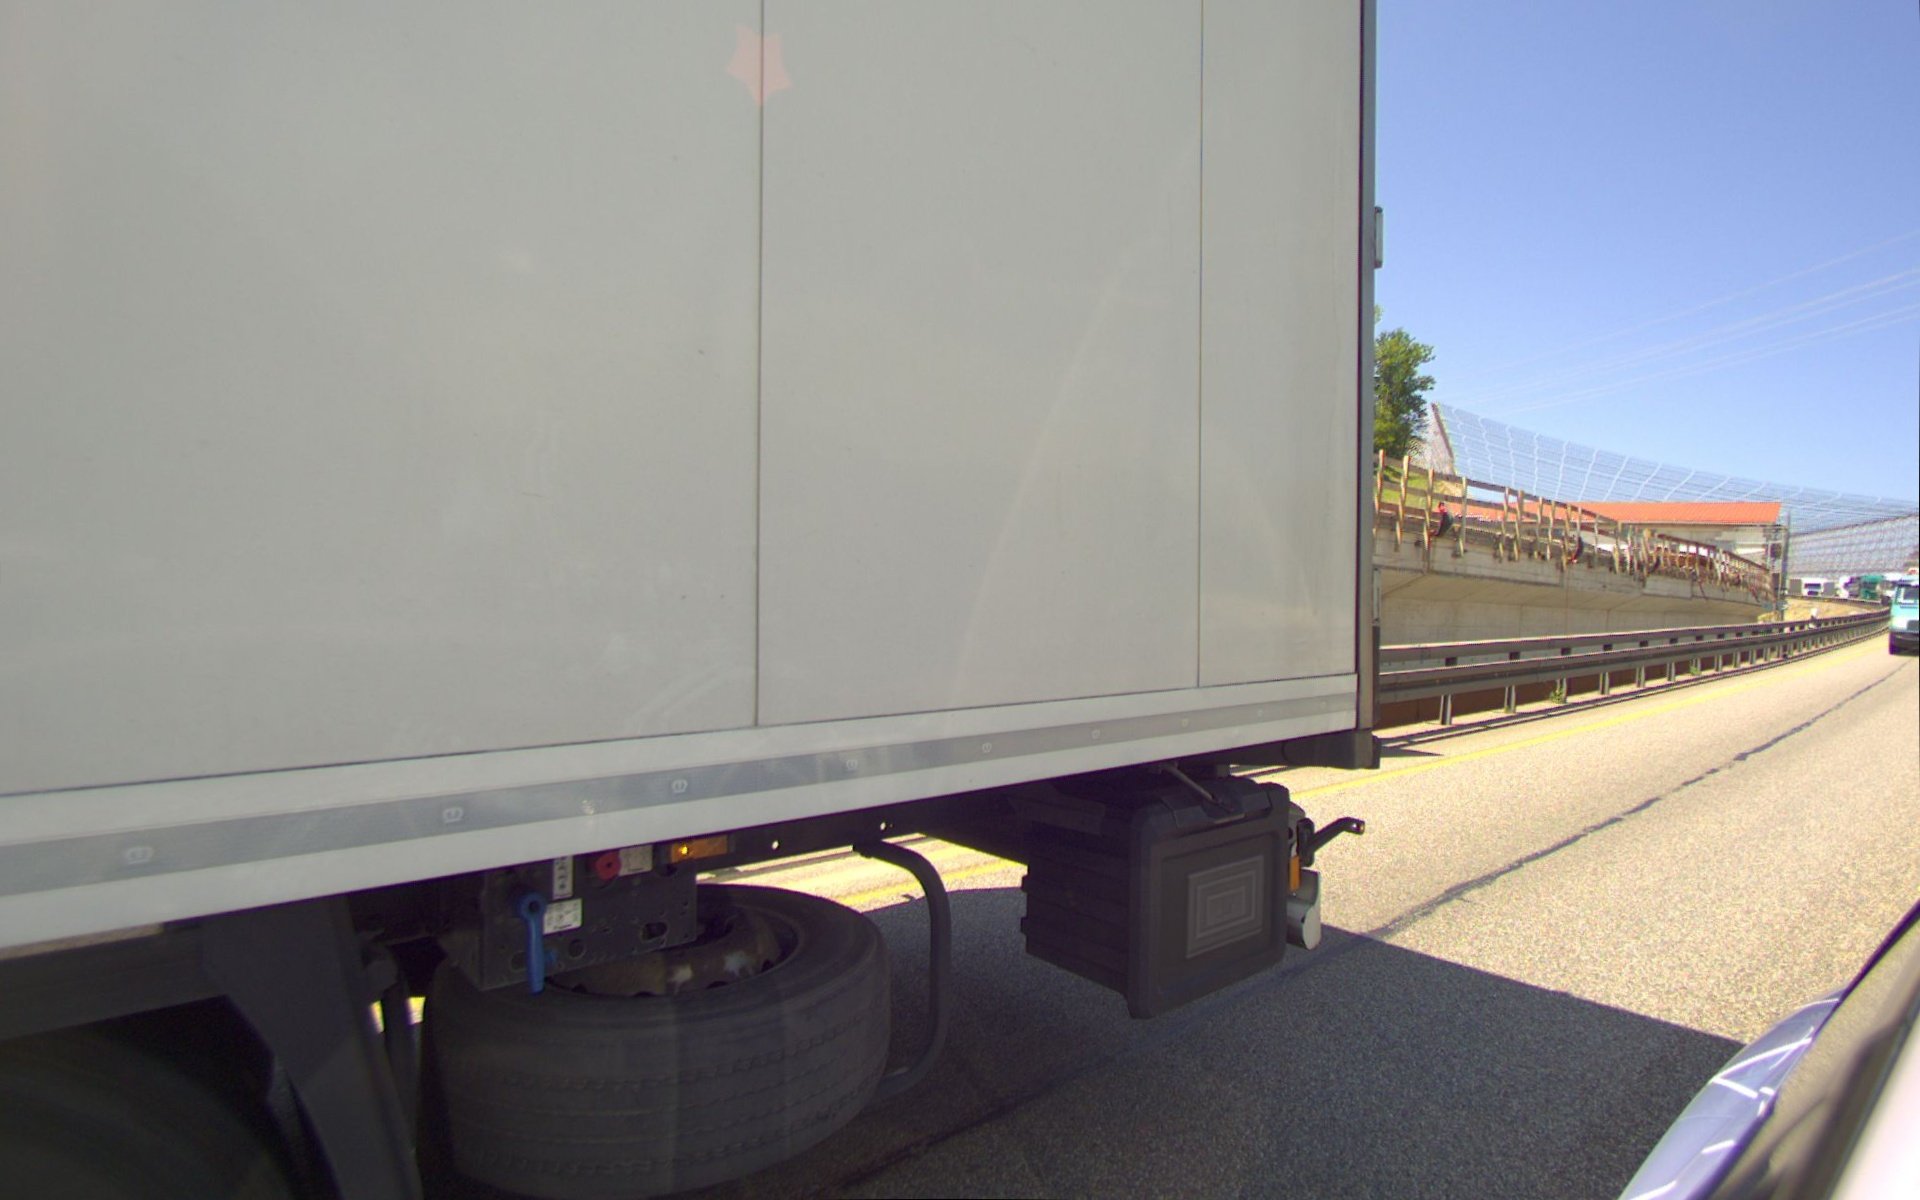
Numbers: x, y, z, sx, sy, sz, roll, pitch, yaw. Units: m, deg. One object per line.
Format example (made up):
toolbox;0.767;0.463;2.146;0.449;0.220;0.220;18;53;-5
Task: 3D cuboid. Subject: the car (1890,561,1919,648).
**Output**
car;28.859;0.101;29.330;6.784;2.355;2.214;-1;1;-42

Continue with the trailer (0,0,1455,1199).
trailer;-3.492;-0.770;0.474;11.348;4.179;2.535;-1;0;-41
